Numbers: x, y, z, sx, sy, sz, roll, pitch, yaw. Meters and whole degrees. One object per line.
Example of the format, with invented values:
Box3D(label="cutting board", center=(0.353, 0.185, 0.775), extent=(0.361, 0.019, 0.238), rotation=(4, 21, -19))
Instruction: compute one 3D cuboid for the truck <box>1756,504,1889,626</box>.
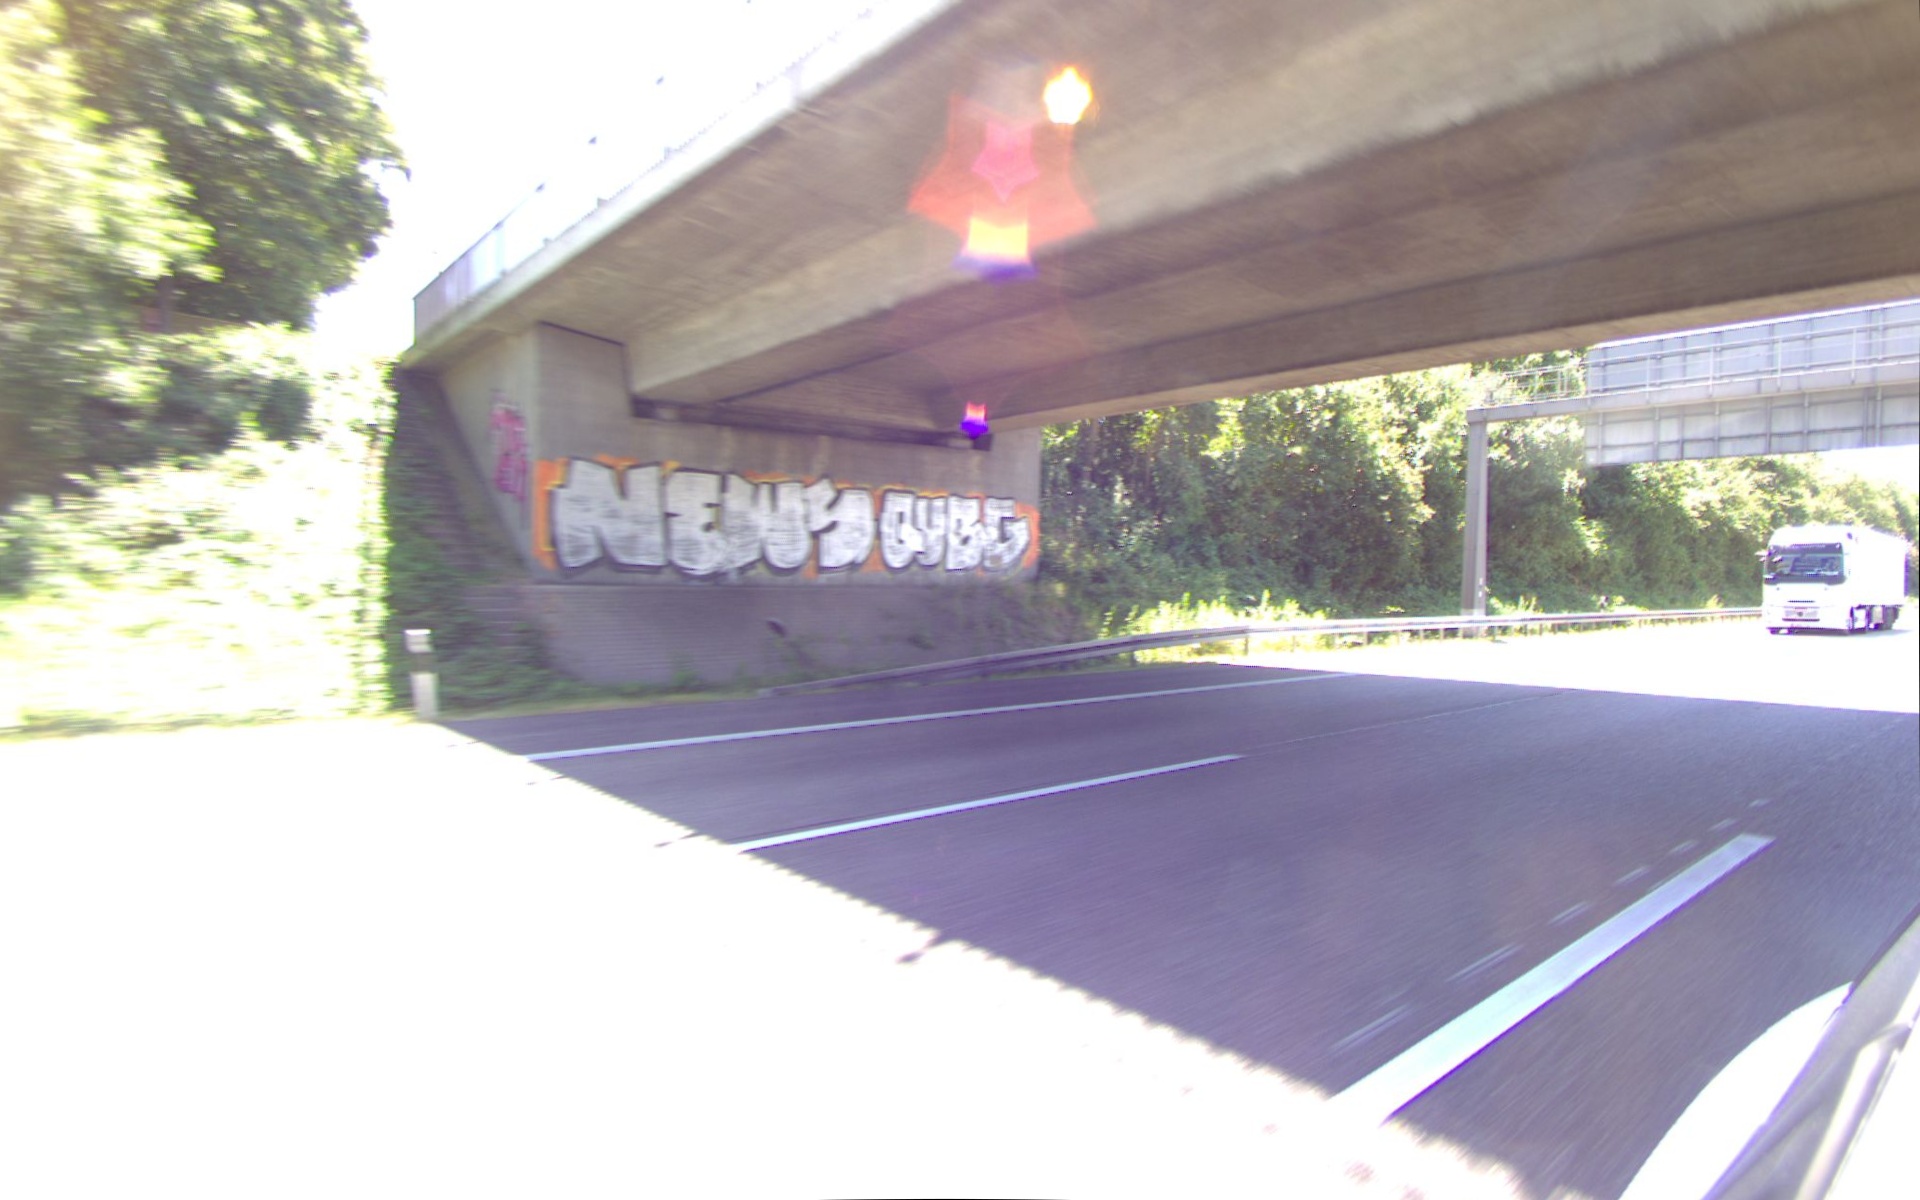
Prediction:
Box3D(label="truck", center=(32.759, -1.247, 38.375), extent=(5.943, 4.268, 3.052), rotation=(0, 0, -41))

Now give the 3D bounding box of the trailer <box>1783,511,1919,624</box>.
Box3D(label="trailer", center=(39.156, -1.267, 44.037), extent=(13.595, 4.278, 3.044), rotation=(0, 0, -42))
